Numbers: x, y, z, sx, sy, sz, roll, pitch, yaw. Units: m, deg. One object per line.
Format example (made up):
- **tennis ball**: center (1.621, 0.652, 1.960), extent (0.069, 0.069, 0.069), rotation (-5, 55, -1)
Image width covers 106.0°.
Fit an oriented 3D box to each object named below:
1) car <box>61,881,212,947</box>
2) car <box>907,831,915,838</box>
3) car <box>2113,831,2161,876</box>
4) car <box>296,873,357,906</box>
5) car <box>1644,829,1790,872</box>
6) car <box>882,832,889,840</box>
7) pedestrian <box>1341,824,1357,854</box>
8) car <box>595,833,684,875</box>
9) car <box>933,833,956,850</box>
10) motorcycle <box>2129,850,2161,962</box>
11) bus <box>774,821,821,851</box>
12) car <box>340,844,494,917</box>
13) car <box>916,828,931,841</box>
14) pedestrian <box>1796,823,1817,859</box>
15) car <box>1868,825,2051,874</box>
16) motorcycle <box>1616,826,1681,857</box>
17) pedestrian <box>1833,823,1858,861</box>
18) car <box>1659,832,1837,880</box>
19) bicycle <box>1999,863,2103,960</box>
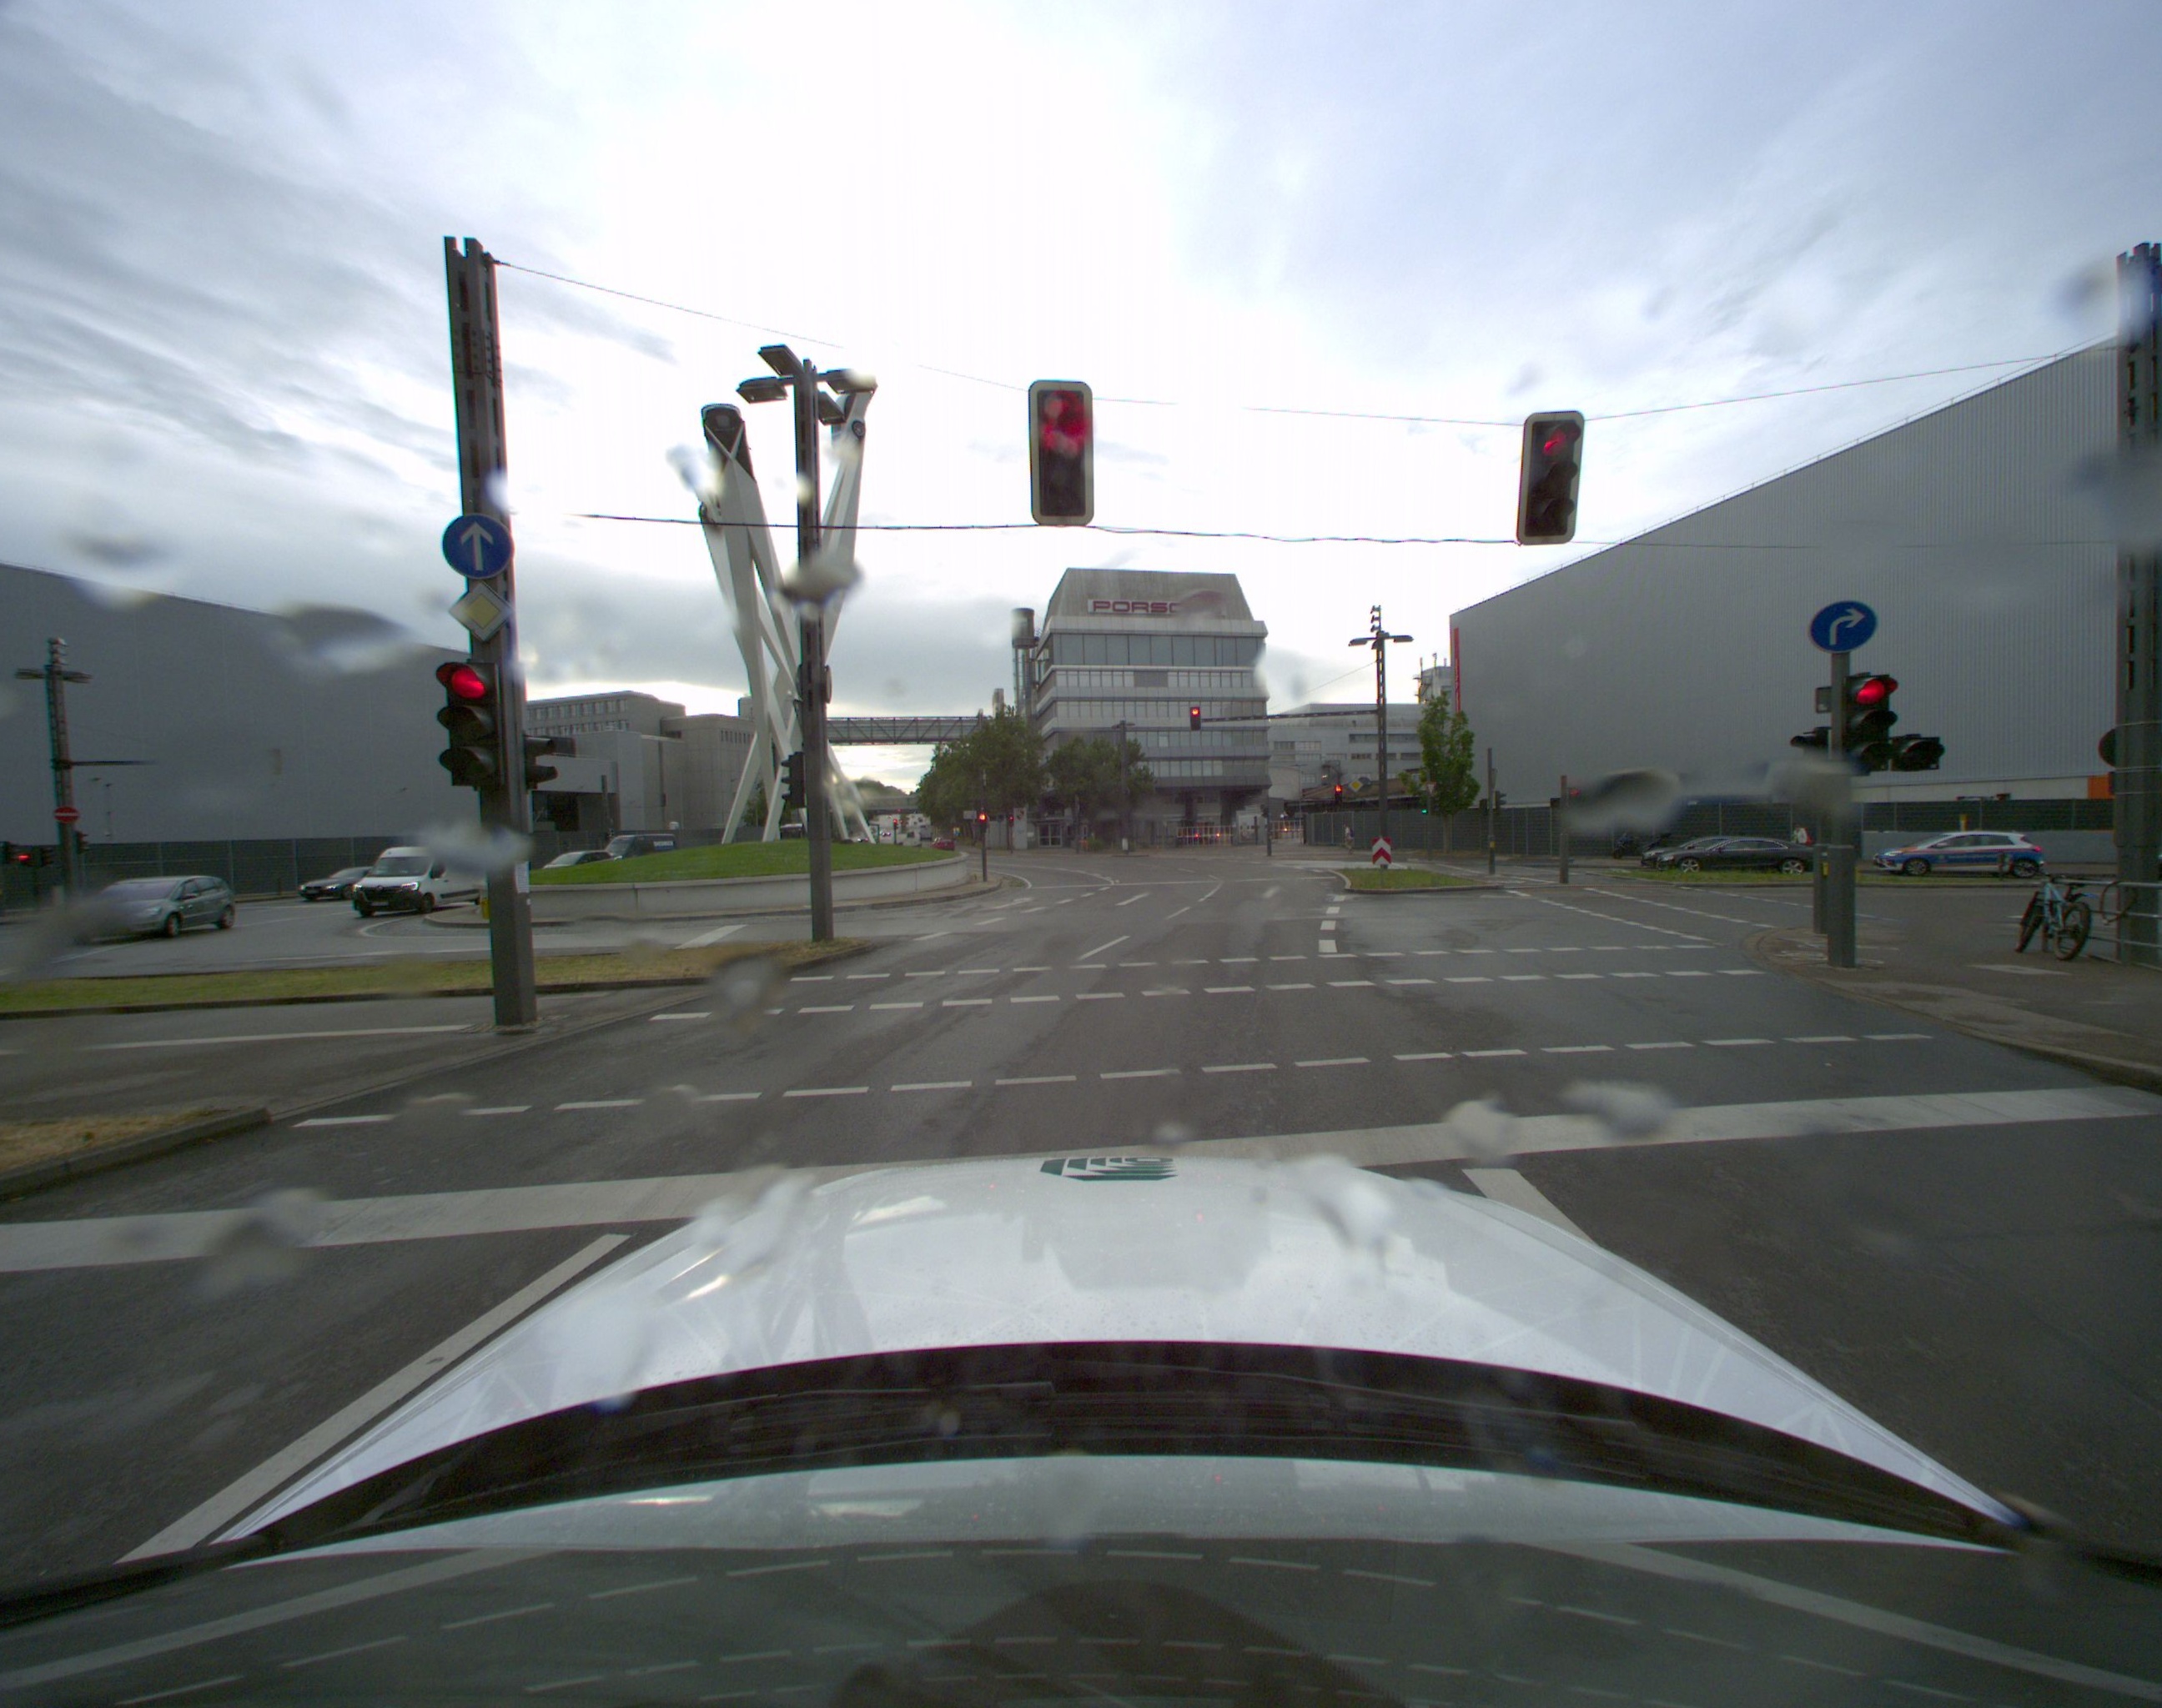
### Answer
- **car**: center (-26.029, 1.580, 22.616), extent (1.848, 1.494, 3.956), rotation (-2, 0, -36)
- **car**: center (-36.856, -4.204, 176.527), extent (1.558, 1.288, 3.399), rotation (-2, -1, -12)
- **car**: center (35.308, -0.019, 25.103), extent (3.949, 1.392, 1.769), rotation (0, 2, 31)
- **car**: center (-34.904, 1.623, 37.766), extent (1.849, 1.338, 4.197), rotation (-2, 0, -40)
- **car**: center (24.152, -0.162, 31.146), extent (4.244, 1.539, 1.769), rotation (0, 2, 31)
- **car**: center (-47.186, -4.363, 196.857), extent (1.629, 1.816, 3.717), rotation (-1, 1, -13)
- **pedestrian**: center (15.235, -0.846, 46.350), extent (0.801, 1.611, 0.773), rotation (-2, -1, 19)
- **car**: center (-31.979, -0.011, 59.340), extent (1.957, 2.820, 7.140), rotation (-2, 0, 6)
- **car**: center (-13.067, -1.154, 77.974), extent (1.776, 1.464, 3.713), rotation (-2, -1, -15)
- **motorcycle**: center (15.151, 0.664, 10.385), extent (2.213, 1.452, 0.759), rotation (-1, 0, 12)
- **bus**: center (-32.565, -1.987, 94.087), extent (2.667, 3.200, 12.634), rotation (-1, 0, -8)
- **car**: center (-24.610, 0.884, 30.526), extent (1.994, 2.447, 5.408), rotation (-2, 1, -10)
- **car**: center (-27.818, -3.442, 143.951), extent (2.237, 2.108, 4.928), rotation (-2, -1, -15)
- **pedestrian**: center (30.007, -0.525, 33.695), extent (0.605, 1.481, 0.426), rotation (-1, 0, 37)
- **car**: center (30.150, -0.167, 28.140), extent (3.930, 1.601, 1.924), rotation (0, 1, 31)
- **motorcycle**: center (25.711, -0.571, 36.951), extent (2.330, 1.344, 0.657), rotation (-1, 1, 30)
- **pedestrian**: center (30.875, -0.483, 32.898), extent (0.642, 1.481, 0.442), rotation (-1, 0, 35)
- **car**: center (22.696, 0.032, 27.968), extent (4.525, 1.539, 1.769), rotation (0, 2, 31)
- **bicycle**: center (12.396, 0.693, 10.450), extent (0.381, 1.097, 1.762), rotation (-2, 0, 35)
